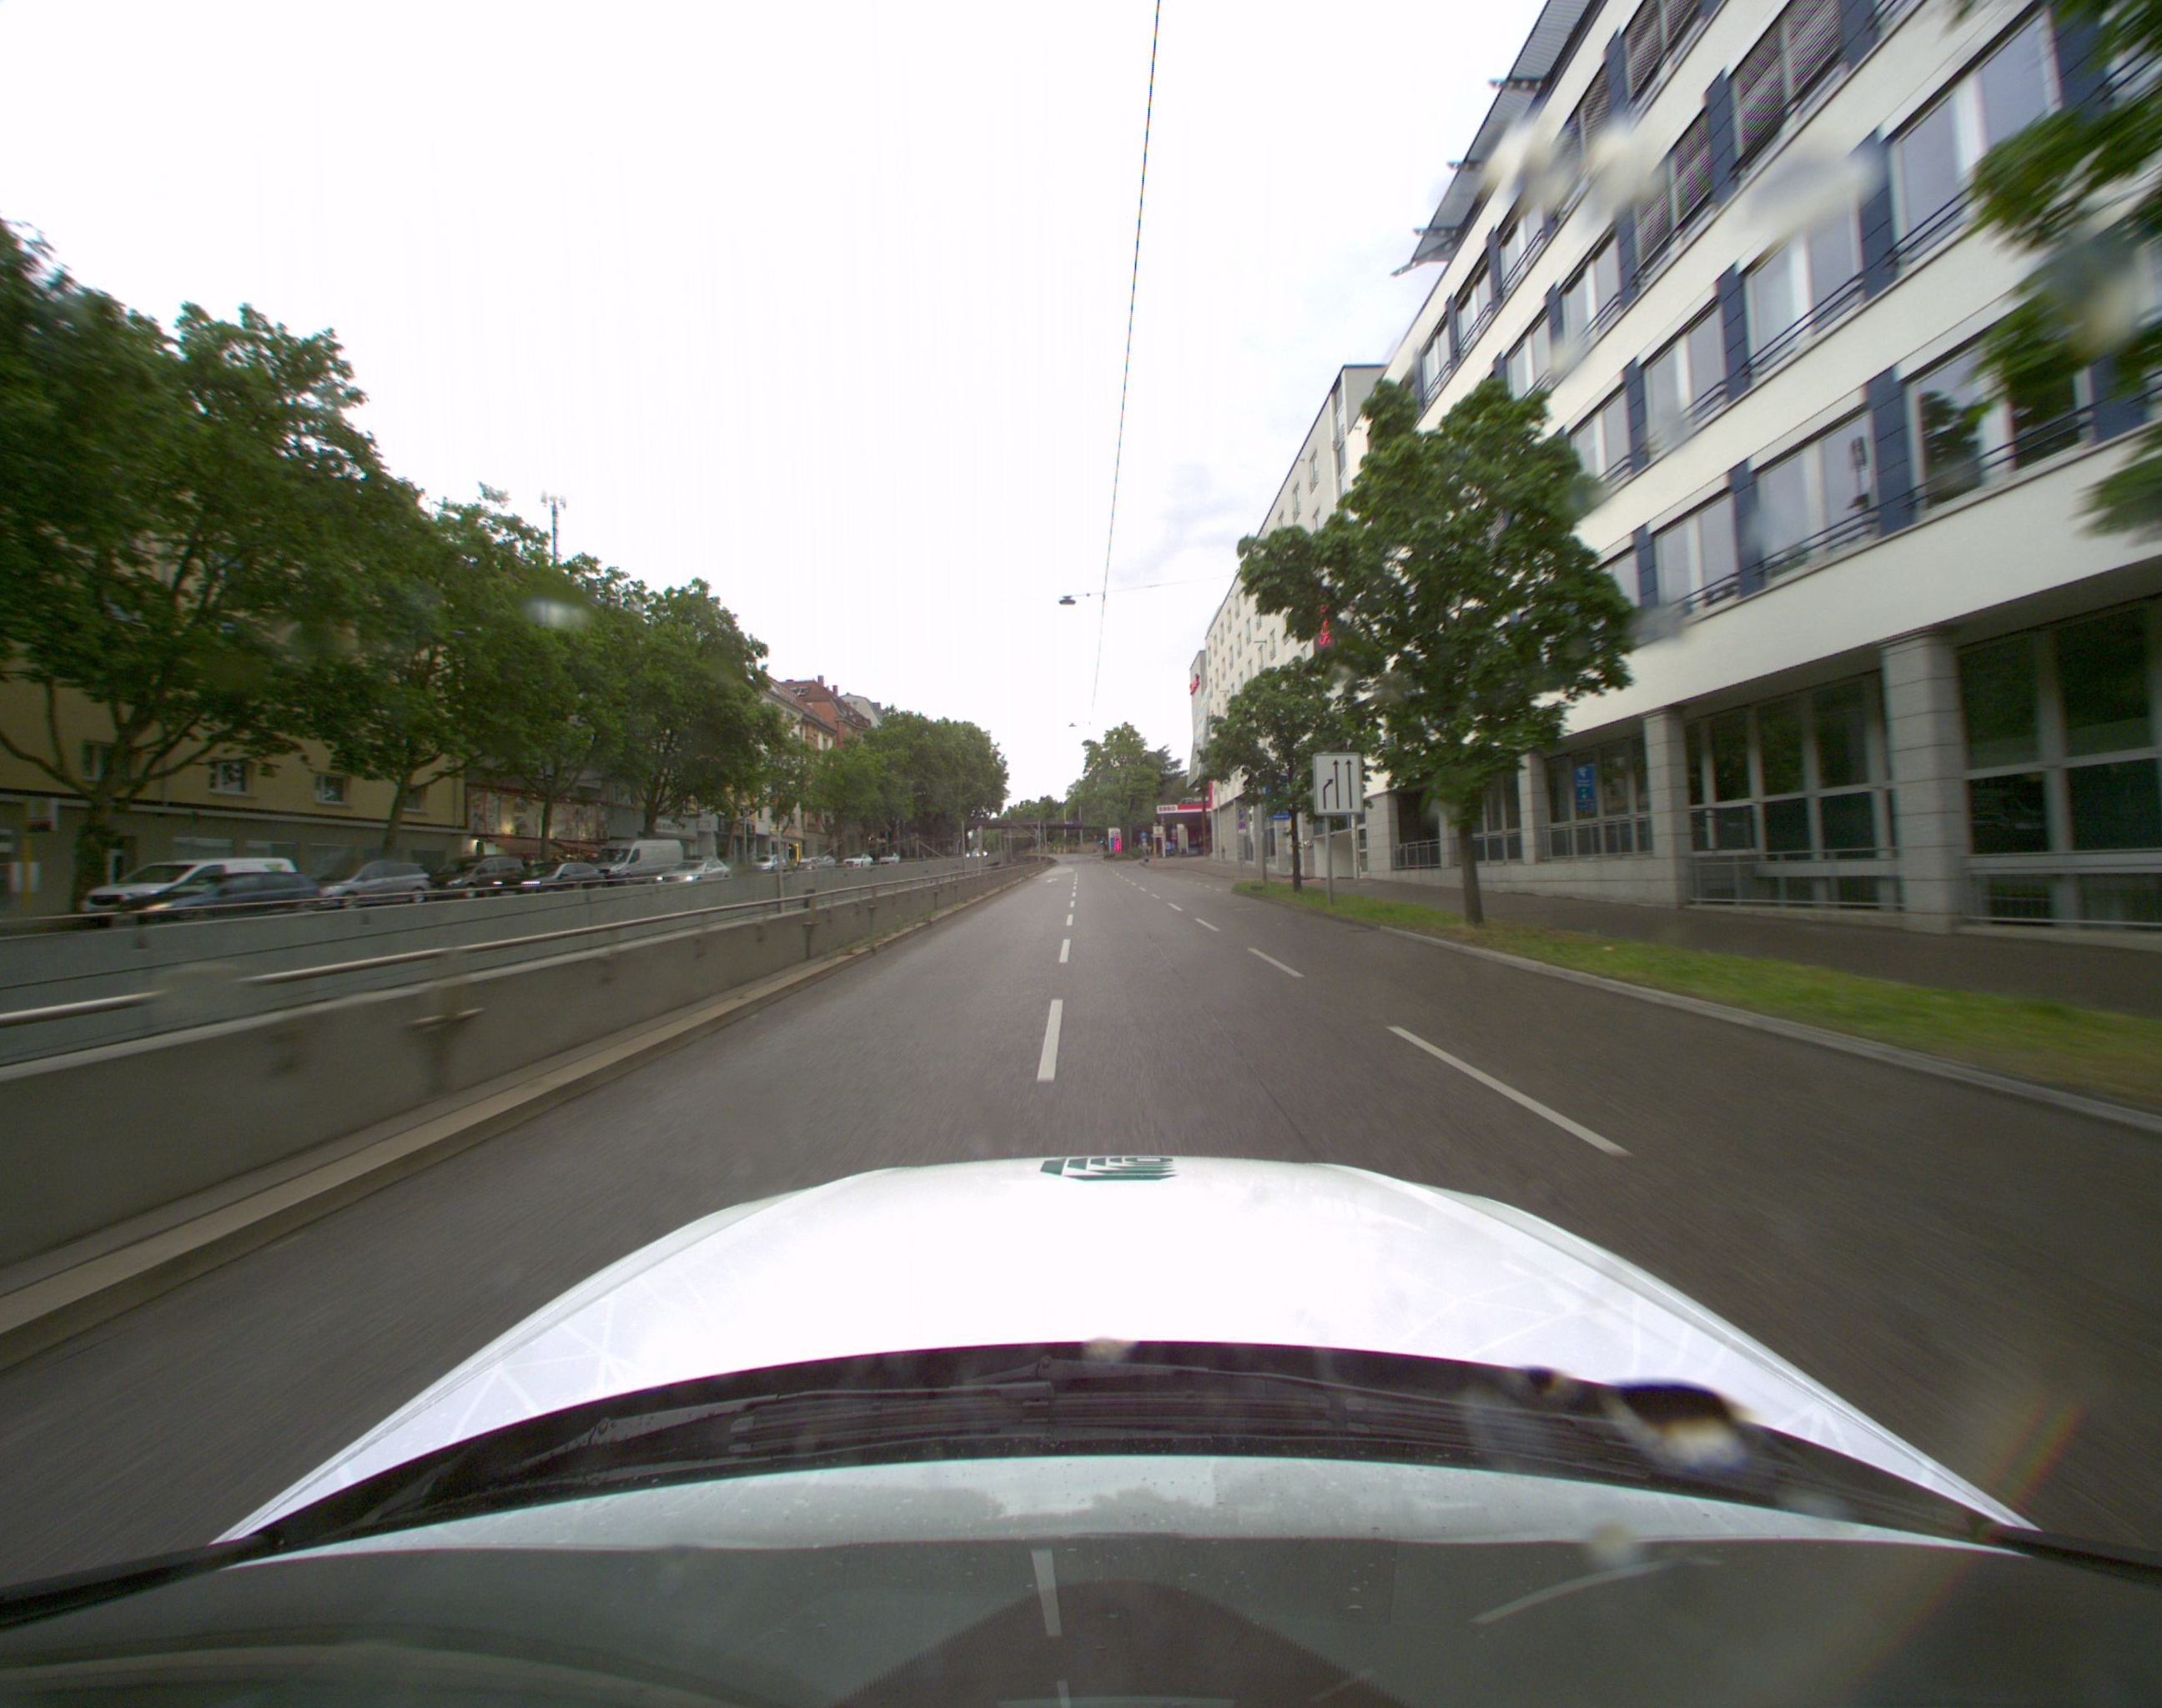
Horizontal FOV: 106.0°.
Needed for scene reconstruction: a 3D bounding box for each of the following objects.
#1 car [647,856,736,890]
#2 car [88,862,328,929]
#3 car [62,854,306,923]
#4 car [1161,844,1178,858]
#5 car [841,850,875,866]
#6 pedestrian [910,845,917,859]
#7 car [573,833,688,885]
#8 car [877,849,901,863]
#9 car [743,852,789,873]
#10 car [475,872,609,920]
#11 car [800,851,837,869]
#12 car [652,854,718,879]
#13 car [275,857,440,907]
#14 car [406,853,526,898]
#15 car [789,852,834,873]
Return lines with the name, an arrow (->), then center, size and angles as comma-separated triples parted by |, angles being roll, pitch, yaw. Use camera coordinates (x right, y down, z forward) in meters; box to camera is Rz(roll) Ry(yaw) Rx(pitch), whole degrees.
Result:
car -> -18.827, 0.871, 39.617 | 1.839, 1.510, 4.824 | 0, 0, 2
car -> -23.107, 1.022, 21.814 | 1.685, 1.550, 4.075 | 0, 0, 11
car -> -26.043, 0.907, 23.983 | 1.872, 1.764, 4.897 | 0, 0, -2
car -> 11.121, -0.400, 102.555 | 1.762, 1.623, 3.876 | -4, -1, 9
car -> -23.102, 0.383, 84.435 | 1.920, 1.601, 5.201 | 0, 0, 1
pedestrian -> -24.273, -0.329, 117.944 | 0.666, 2.014, 0.935 | 0, -1, 3
car -> -25.089, 0.241, 45.795 | 2.443, 2.662, 6.934 | 0, 0, 2
car -> -22.498, 0.261, 95.554 | 1.788, 1.611, 4.113 | 0, 0, 1
car -> -24.283, 0.622, 62.973 | 1.787, 1.571, 4.210 | 0, 0, 2
car -> -19.184, 1.432, 29.258 | 1.787, 1.510, 4.346 | -1, -1, 2
car -> -23.644, 0.533, 73.526 | 1.787, 1.510, 4.210 | 0, 0, 2
car -> -25.166, 0.754, 52.003 | 1.787, 1.510, 4.674 | 0, 0, 2
car -> -25.704, 0.944, 29.194 | 1.870, 1.583, 4.473 | 0, 0, 0
car -> -25.377, 0.829, 33.817 | 1.789, 1.729, 4.204 | 0, 0, -1
car -> -20.375, 0.614, 61.721 | 1.838, 1.510, 4.021 | 0, 0, 4
